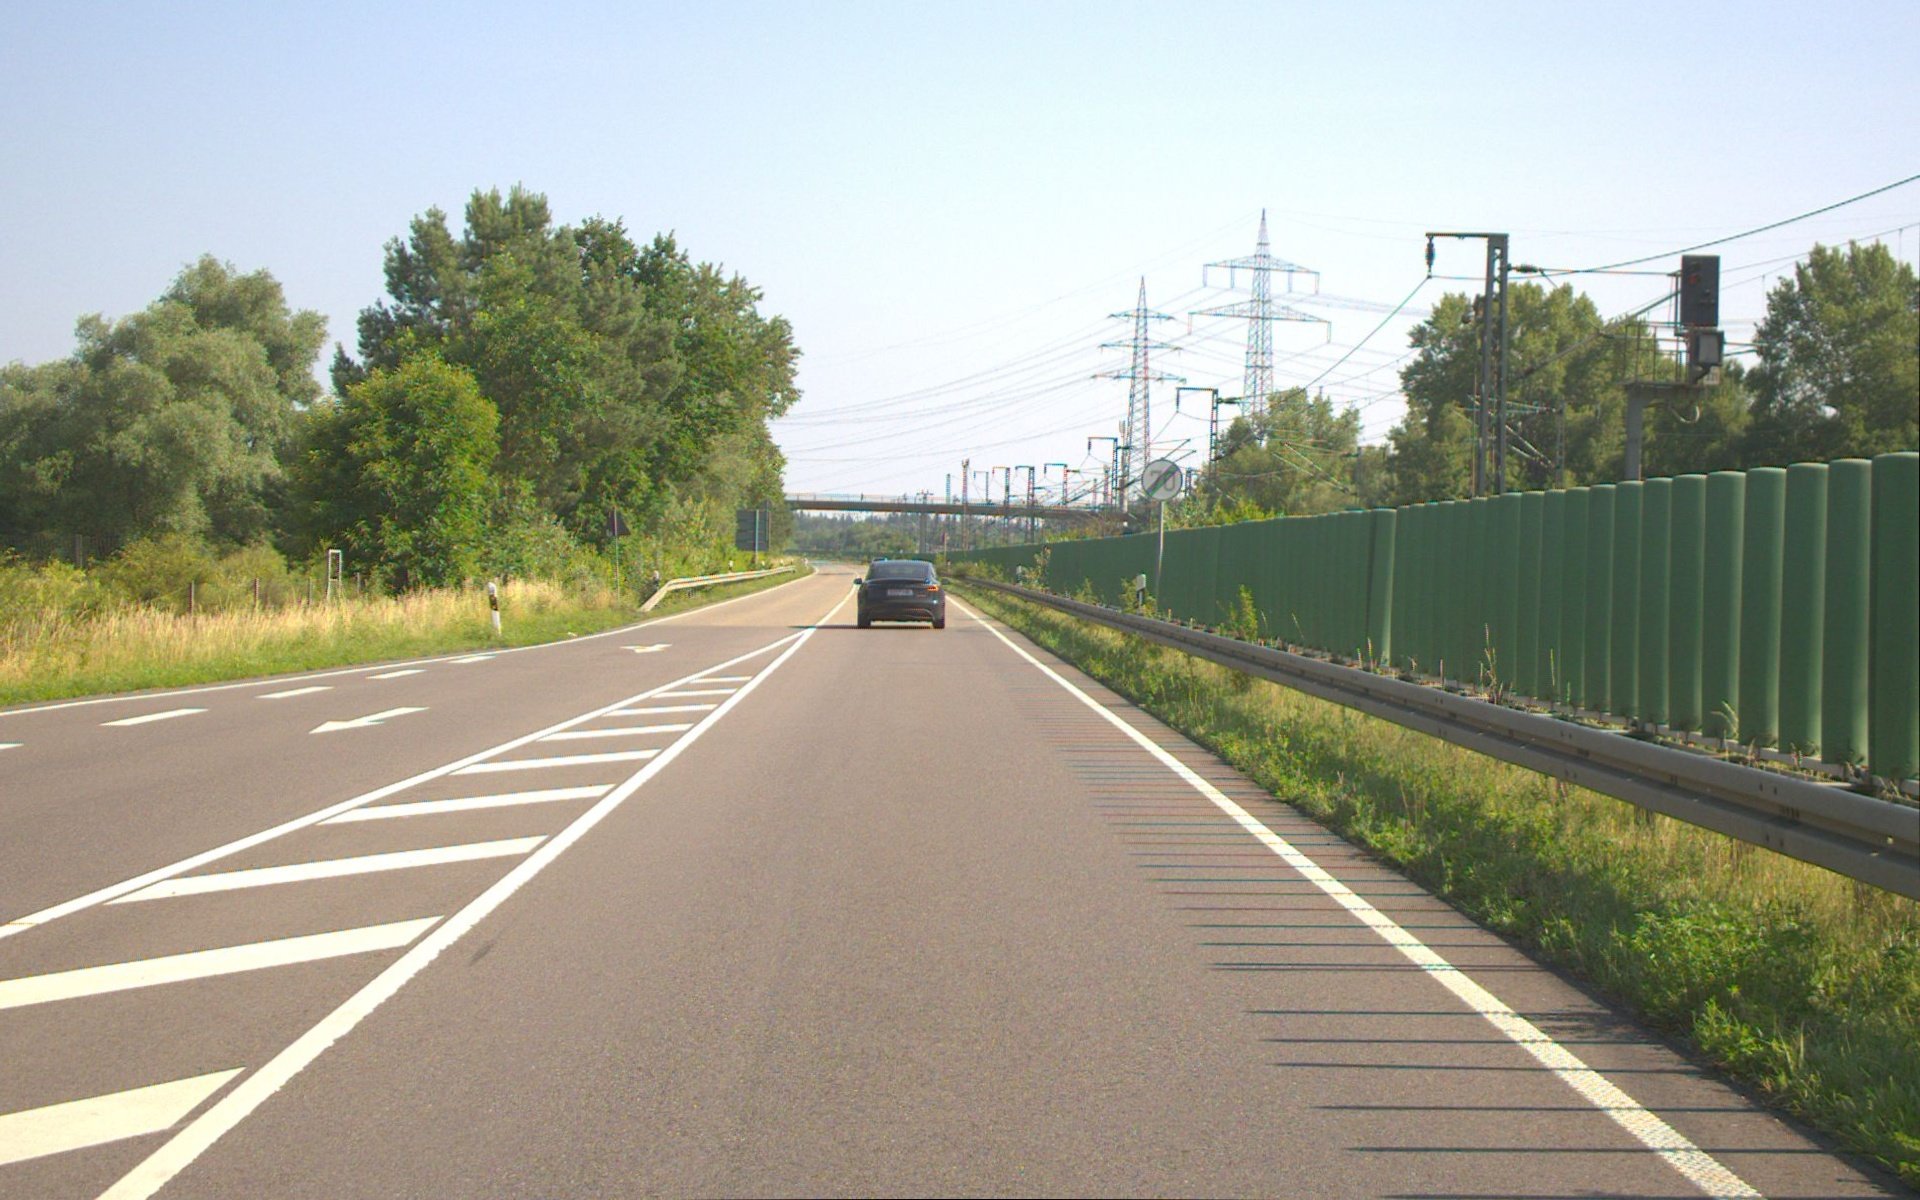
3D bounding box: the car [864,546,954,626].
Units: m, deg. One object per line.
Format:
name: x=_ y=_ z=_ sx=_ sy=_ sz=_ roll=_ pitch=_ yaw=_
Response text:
car: x=-1.096 y=-0.309 z=73.028 sx=1.858 sy=1.636 sz=4.000 roll=-1 pitch=1 yaw=-1
